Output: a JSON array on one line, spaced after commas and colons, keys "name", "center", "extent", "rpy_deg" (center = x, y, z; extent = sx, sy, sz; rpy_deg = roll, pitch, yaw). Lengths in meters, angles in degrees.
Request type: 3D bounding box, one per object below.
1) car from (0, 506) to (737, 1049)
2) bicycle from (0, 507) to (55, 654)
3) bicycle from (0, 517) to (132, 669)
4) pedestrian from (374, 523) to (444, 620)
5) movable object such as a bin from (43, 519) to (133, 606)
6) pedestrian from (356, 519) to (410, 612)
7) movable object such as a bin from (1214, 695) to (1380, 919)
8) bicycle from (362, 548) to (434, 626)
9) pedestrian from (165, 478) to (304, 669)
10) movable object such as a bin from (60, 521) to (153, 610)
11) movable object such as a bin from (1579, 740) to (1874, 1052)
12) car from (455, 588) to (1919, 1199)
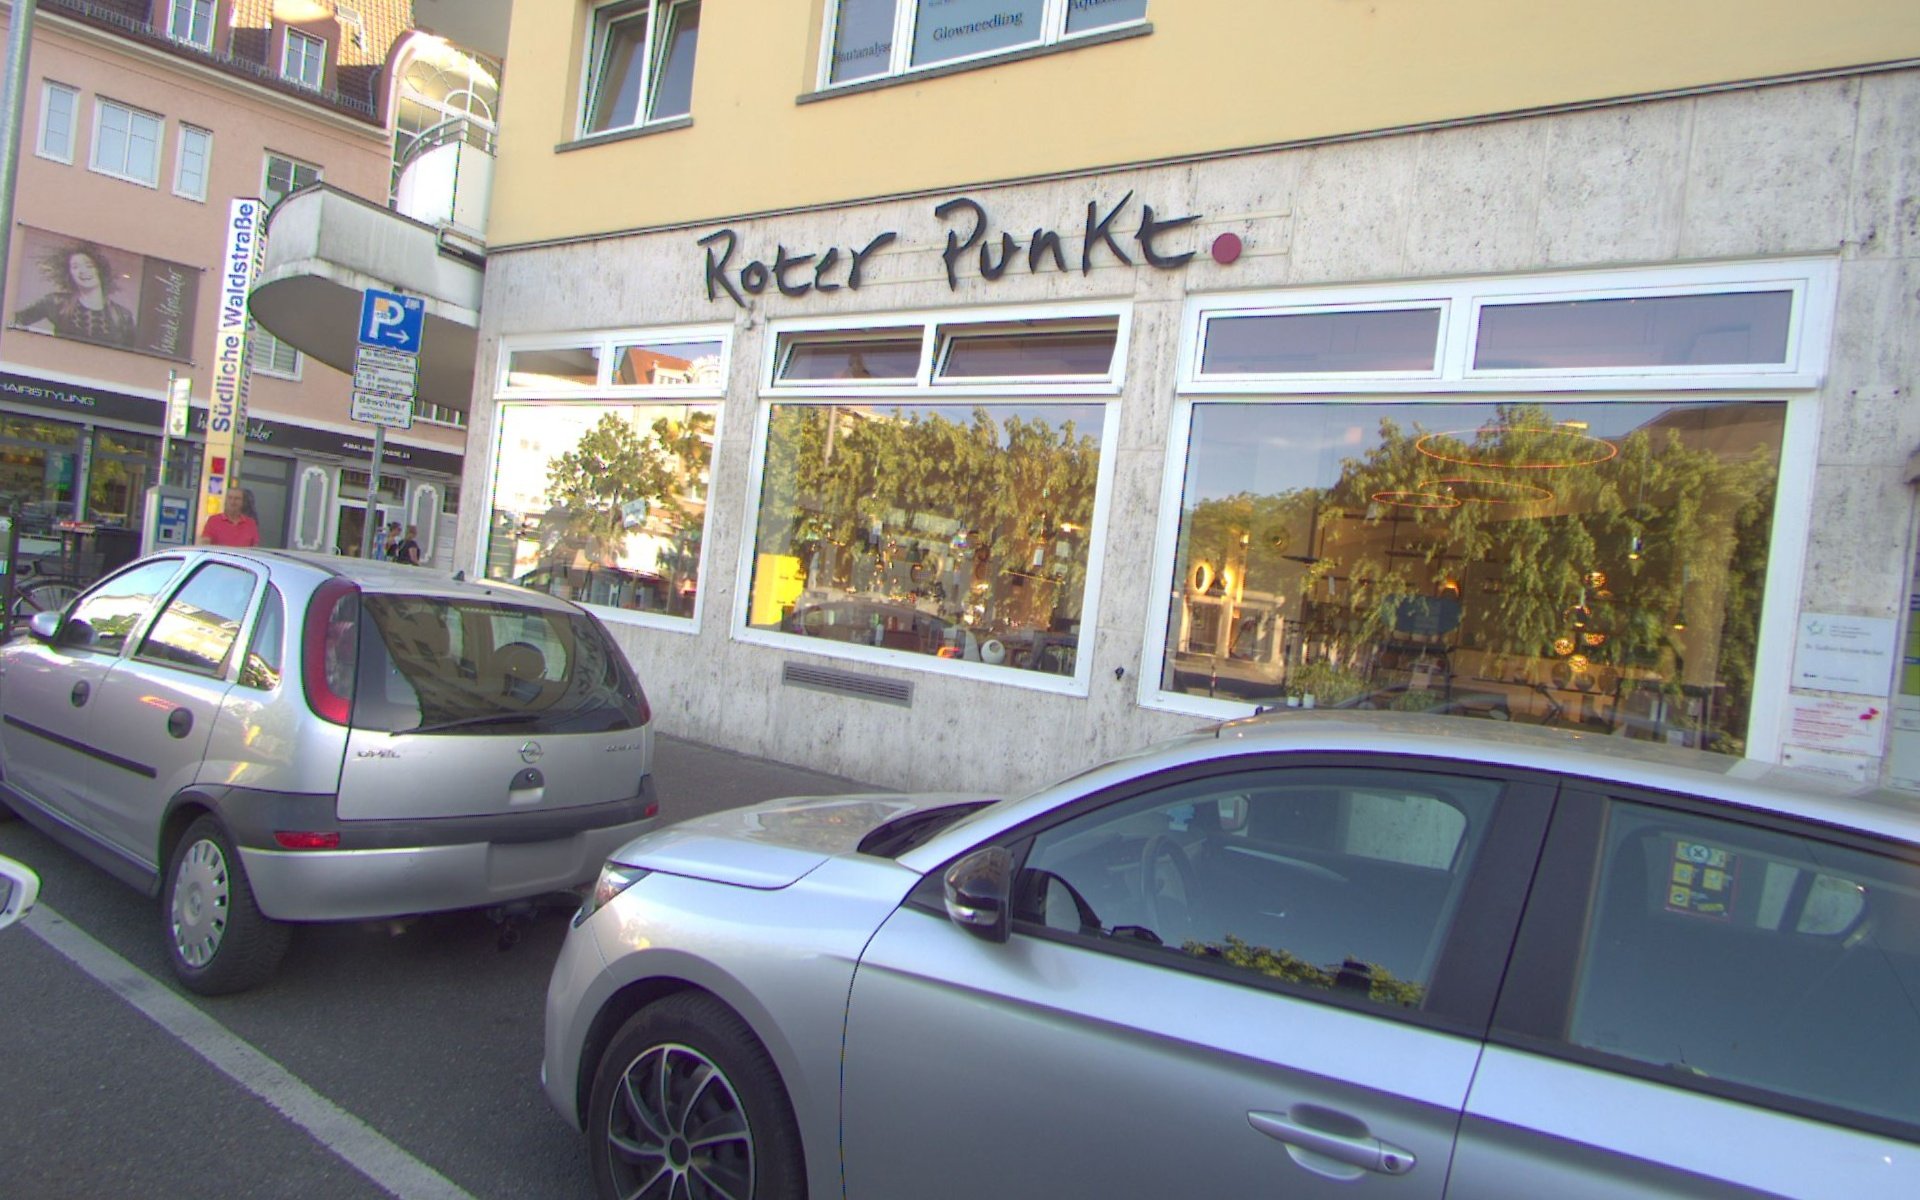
[{"name": "car", "center": [-2.942, 0.476, 4.471], "extent": [3.583, 1.397, 1.616], "rpy_deg": [7, -2, 32]}, {"name": "bicycle", "center": [-9.111, -0.240, 8.711], "extent": [0.778, 1.284, 1.721], "rpy_deg": [7, 1, 37]}, {"name": "bicycle", "center": [-8.106, -0.088, 8.237], "extent": [0.681, 1.208, 1.885], "rpy_deg": [8, 1, 37]}, {"name": "pedestrian", "center": [-10.528, -0.536, 19.236], "extent": [0.725, 1.734, 0.709], "rpy_deg": [7, 0, 4]}, {"name": "movable object such as a bin", "center": [-12.438, -0.532, 14.358], "extent": [0.617, 1.105, 0.734], "rpy_deg": [6, -1, 34]}, {"name": "pedestrian", "center": [-11.196, -0.654, 19.525], "extent": [0.772, 1.704, 0.820], "rpy_deg": [5, 0, -30]}, {"name": "movable object such as a bin", "center": [1.867, 1.080, 5.524], "extent": [0.592, 1.041, 0.811], "rpy_deg": [7, 0, 31]}, {"name": "bicycle", "center": [-10.059, -0.249, 17.963], "extent": [0.656, 1.213, 2.187], "rpy_deg": [7, -1, -39]}, {"name": "pedestrian", "center": [-7.341, -0.269, 10.176], "extent": [0.994, 1.808, 0.862], "rpy_deg": [7, 3, 40]}, {"name": "movable object such as a bin", "center": [-11.903, -0.473, 14.038], "extent": [0.617, 1.105, 0.754], "rpy_deg": [6, -1, 34]}, {"name": "movable object such as a bin", "center": [3.365, 1.245, 4.524], "extent": [0.879, 1.066, 0.751], "rpy_deg": [7, 0, 32]}, {"name": "car", "center": [0.779, 0.923, 2.320], "extent": [3.643, 1.415, 1.652], "rpy_deg": [7, -1, 30]}]
